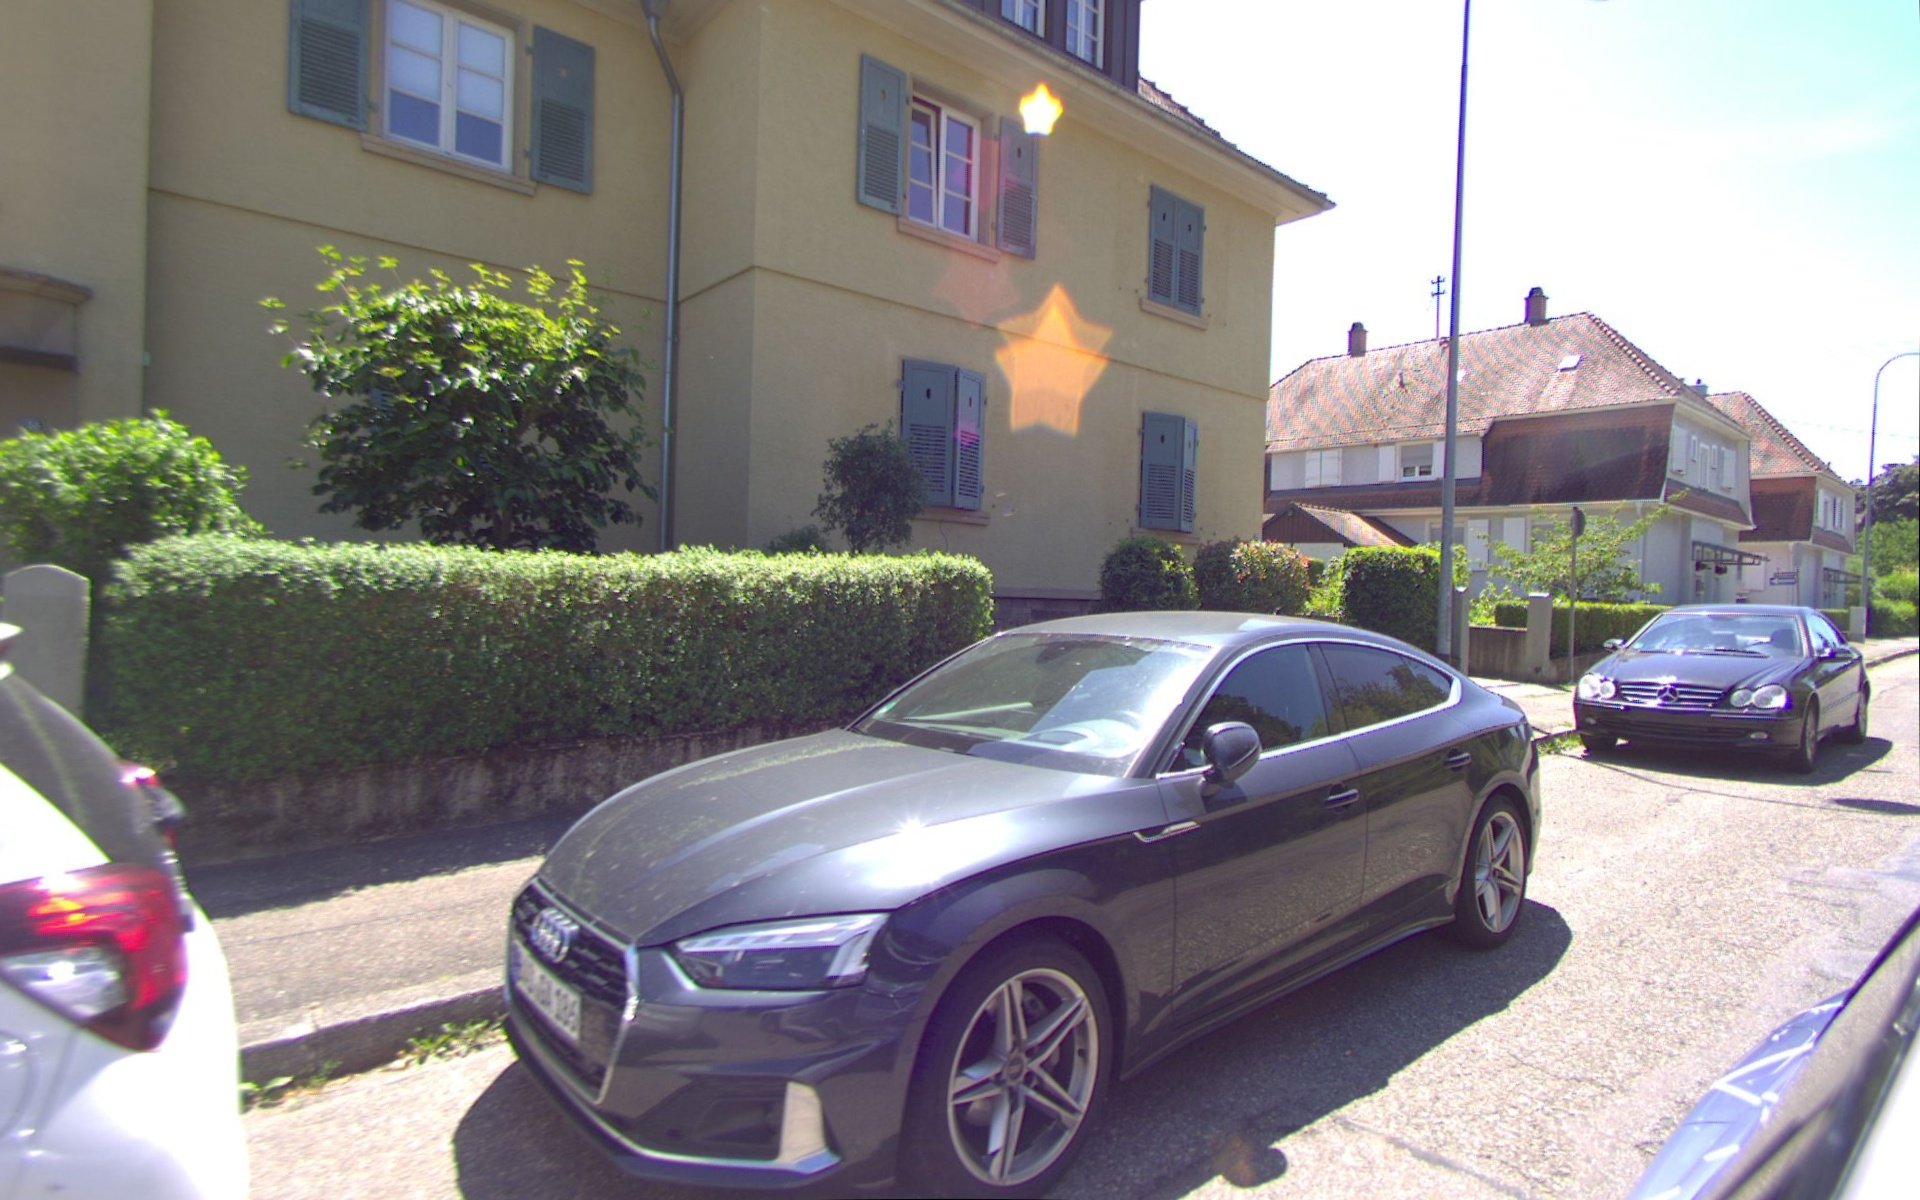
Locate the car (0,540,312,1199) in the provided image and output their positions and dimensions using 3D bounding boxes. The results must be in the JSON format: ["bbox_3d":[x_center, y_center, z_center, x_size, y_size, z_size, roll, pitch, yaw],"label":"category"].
[{"bbox_3d":[-2.893,0.651,0.999,3.585,1.469,1.764,0,1,-41],"label":"car"}]

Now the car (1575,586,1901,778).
[{"bbox_3d":[7.745,0.599,9.896,4.472,1.436,1.695,-1,1,-41],"label":"car"}]

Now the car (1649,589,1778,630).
[{"bbox_3d":[30.767,0.348,41.391,1.664,1.555,4.002,0,1,-42],"label":"car"}]

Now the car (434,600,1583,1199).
[{"bbox_3d":[0.661,0.717,3.928,4.527,1.388,1.764,0,1,-42],"label":"car"}]
